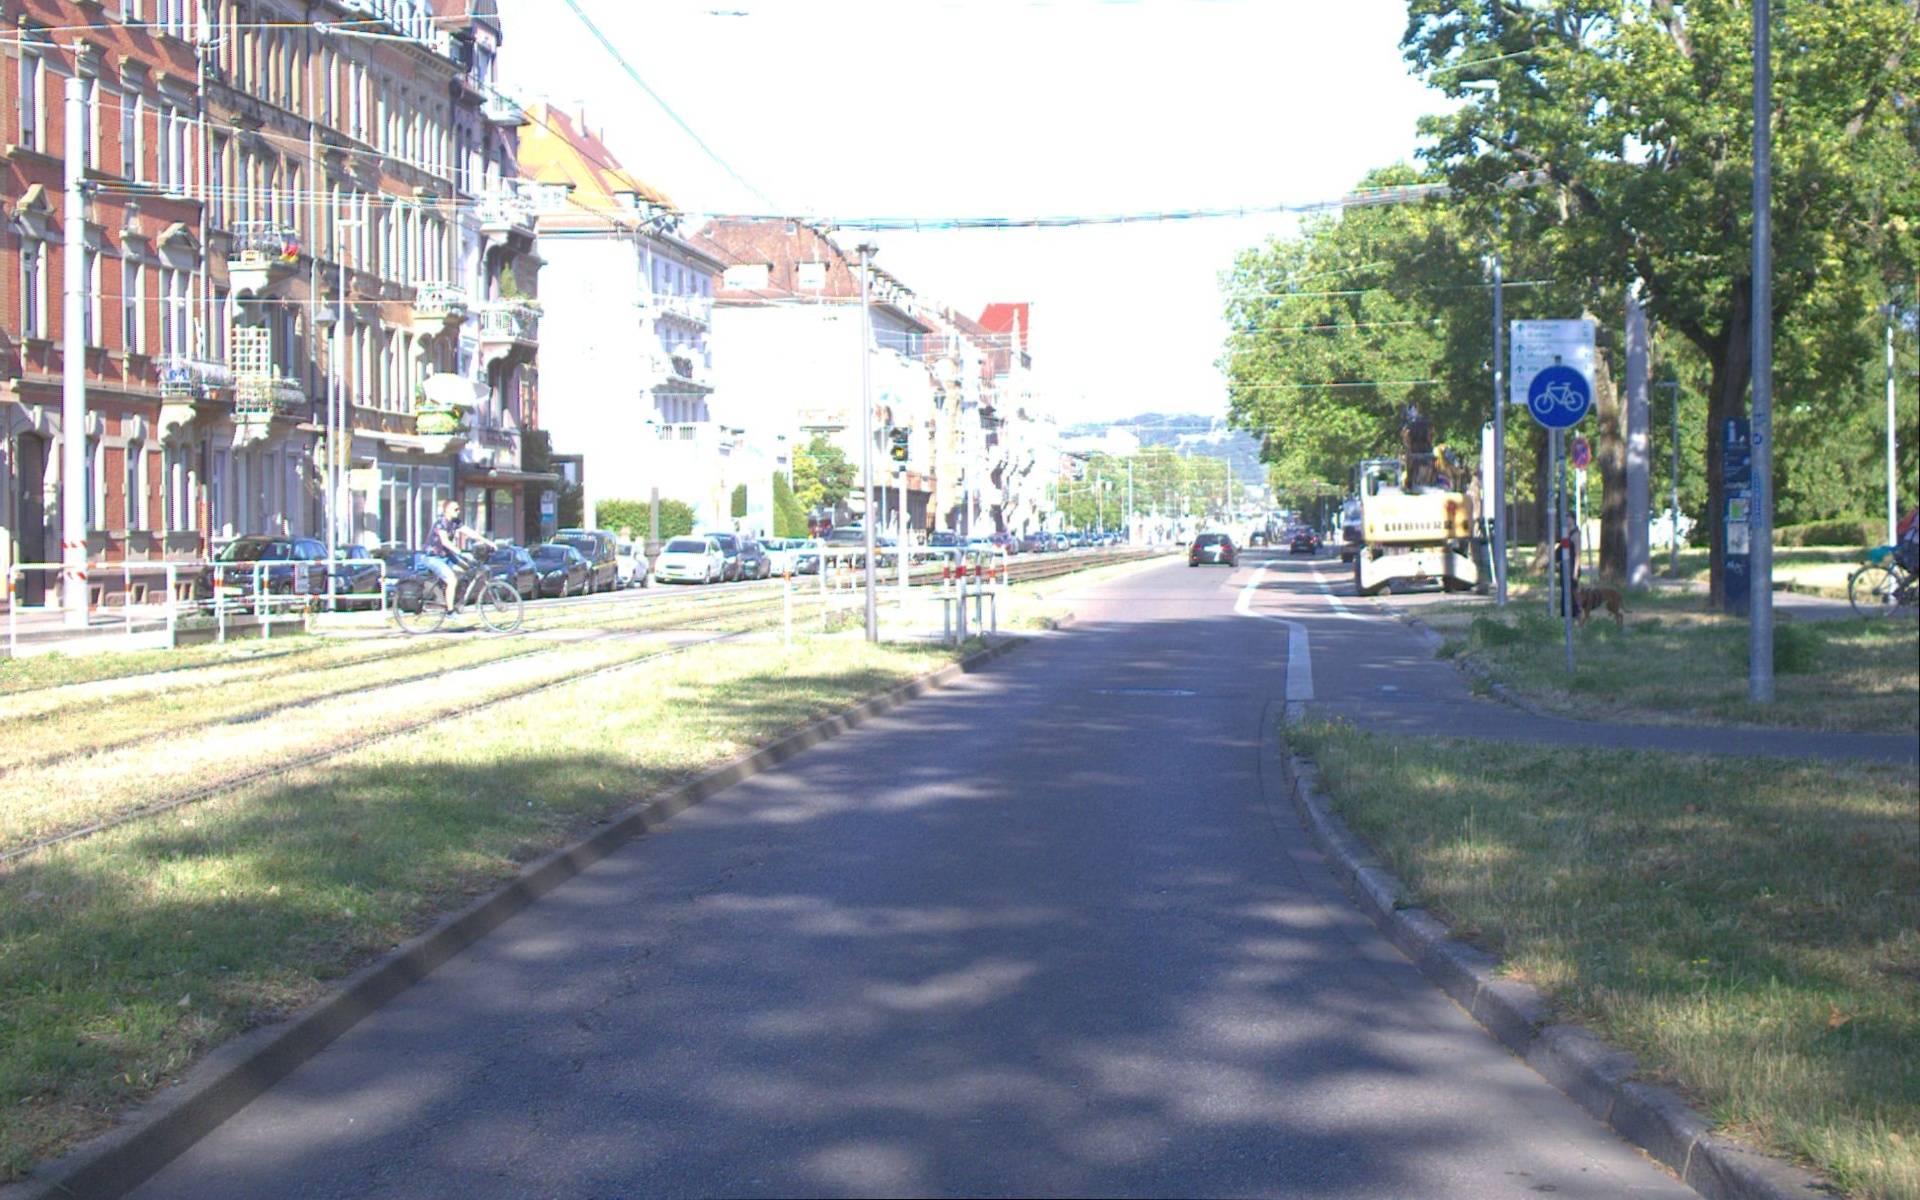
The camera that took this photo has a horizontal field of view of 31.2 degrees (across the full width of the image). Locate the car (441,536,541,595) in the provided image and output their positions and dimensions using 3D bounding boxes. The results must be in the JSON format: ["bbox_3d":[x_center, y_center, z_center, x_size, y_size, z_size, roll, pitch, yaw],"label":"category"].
[{"bbox_3d":[-12.391,-0.932,90.964,1.777,1.401,3.909,2,2,5],"label":"car"}]

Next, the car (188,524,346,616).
[{"bbox_3d":[-14.462,-0.655,71.993,2.016,1.748,4.558,2,2,5],"label":"car"}]

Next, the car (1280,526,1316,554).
[{"bbox_3d":[23.610,-4.210,240.341,1.993,1.853,4.000,1,1,-1],"label":"car"}]

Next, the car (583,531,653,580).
[{"bbox_3d":[-10.850,-1.427,109.207,1.562,1.452,3.665,2,2,5],"label":"car"}]

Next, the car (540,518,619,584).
[{"bbox_3d":[-11.303,-1.478,102.335,1.562,1.847,3.900,2,2,5],"label":"car"}]

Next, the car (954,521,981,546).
[{"bbox_3d":[0.523,-4.577,235.870,1.527,1.605,3.223,2,2,5],"label":"car"}]

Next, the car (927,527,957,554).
[{"bbox_3d":[-1.099,-3.650,210.127,1.527,1.555,3.223,2,2,5],"label":"car"}]

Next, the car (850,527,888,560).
[{"bbox_3d":[-4.583,-2.860,172.618,1.527,1.555,3.223,2,2,5],"label":"car"}]

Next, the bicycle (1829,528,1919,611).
[{"bbox_3d":[12.465,-0.403,44.476,2.260,1.037,0.766,-1,2,4],"label":"bicycle"}]

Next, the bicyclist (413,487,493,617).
[{"bbox_3d":[-6.795,-0.649,46.108,0.919,1.709,0.767,-1,2,1],"label":"bicyclist"}]

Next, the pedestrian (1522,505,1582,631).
[{"bbox_3d":[7.955,-0.435,46.235,0.660,1.641,0.862,-3,1,6],"label":"pedestrian"}]

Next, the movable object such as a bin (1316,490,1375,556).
[{"bbox_3d":[18.003,-3.611,160.759,2.467,2.896,3.999,-3,1,5],"label":"movable object such as a bin"}]

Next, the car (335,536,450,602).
[{"bbox_3d":[-13.441,-0.761,81.612,1.777,1.401,3.909,2,2,5],"label":"car"}]

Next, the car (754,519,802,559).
[{"bbox_3d":[-7.541,-2.549,142.655,1.527,1.555,3.223,2,2,5],"label":"car"}]

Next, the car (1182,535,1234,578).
[{"bbox_3d":[10.109,-1.779,139.952,1.994,1.678,3.999,2,1,6],"label":"car"}]

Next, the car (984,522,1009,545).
[{"bbox_3d":[2.620,-4.809,248.125,1.527,1.605,3.223,2,2,5],"label":"car"}]

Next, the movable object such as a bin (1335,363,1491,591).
[{"bbox_3d":[10.899,-2.914,83.500,3.087,5.071,8.891,-3,1,5],"label":"movable object such as a bin"}]

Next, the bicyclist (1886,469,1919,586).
[{"bbox_3d":[12.515,-0.948,44.473,0.903,1.491,0.766,-1,2,4],"label":"bicyclist"}]

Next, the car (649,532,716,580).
[{"bbox_3d":[-9.846,-1.566,122.015,1.741,1.555,3.767,2,2,5],"label":"car"}]

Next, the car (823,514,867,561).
[{"bbox_3d":[-5.564,-3.046,166.810,1.658,2.132,3.525,2,2,5],"label":"car"}]

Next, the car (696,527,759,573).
[{"bbox_3d":[-8.541,-1.862,126.660,1.741,1.555,3.767,2,2,5],"label":"car"}]

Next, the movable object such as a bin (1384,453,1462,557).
[{"bbox_3d":[14.096,-2.872,104.780,1.968,3.003,4.796,-3,1,5],"label":"movable object such as a bin"}]

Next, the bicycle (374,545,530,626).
[{"bbox_3d":[-6.807,-0.202,46.117,1.953,1.037,0.767,-1,2,1],"label":"bicycle"}]
